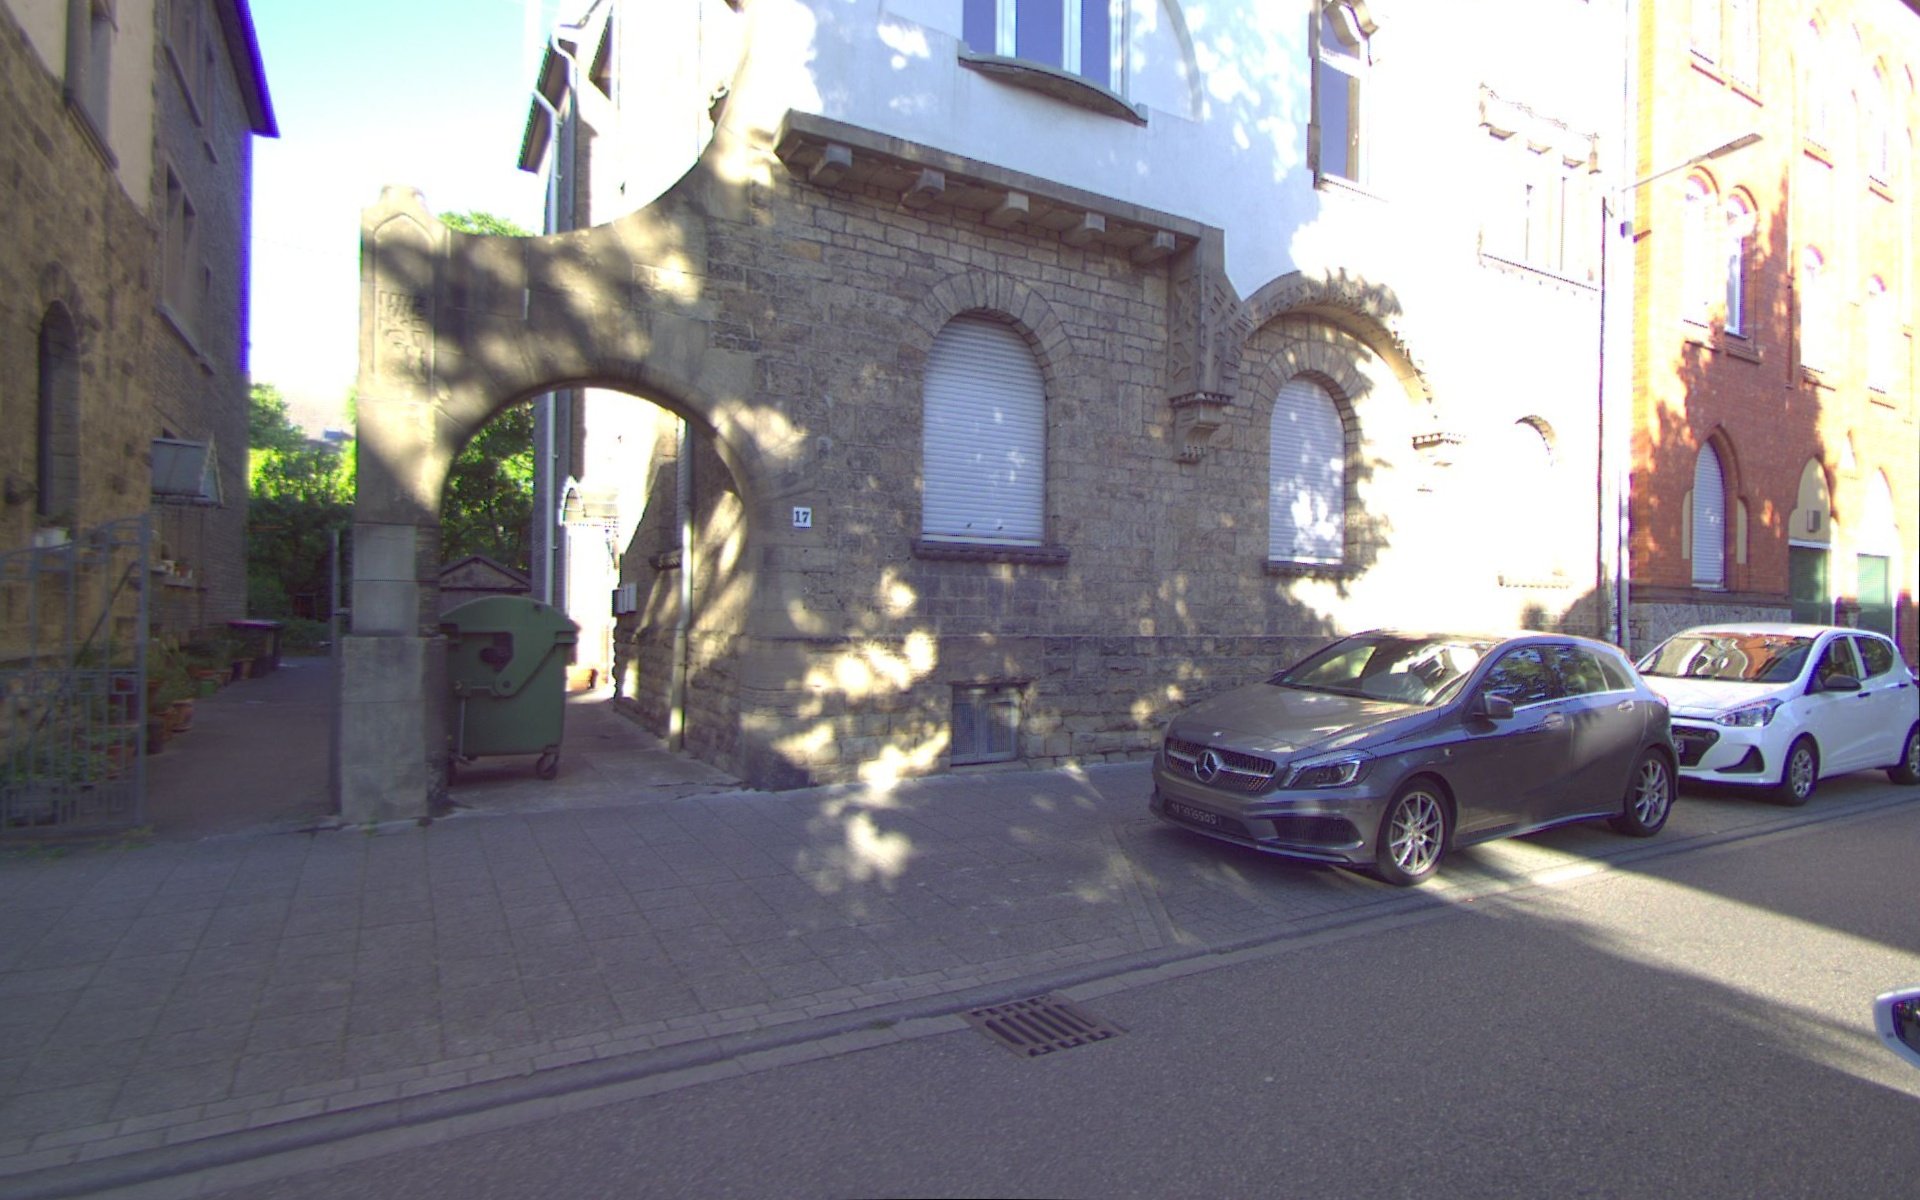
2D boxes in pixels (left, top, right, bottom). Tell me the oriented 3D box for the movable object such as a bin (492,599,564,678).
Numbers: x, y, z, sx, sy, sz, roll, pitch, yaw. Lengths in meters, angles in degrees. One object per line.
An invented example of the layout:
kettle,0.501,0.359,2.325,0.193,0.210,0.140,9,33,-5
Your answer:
movable object such as a bin,-8.662,0.760,20.120,1.160,1.498,1.187,2,0,-30

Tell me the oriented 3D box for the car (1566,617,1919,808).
car,7.590,0.935,9.541,3.546,1.490,1.560,1,0,-28

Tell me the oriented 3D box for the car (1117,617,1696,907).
car,3.206,0.881,6.999,4.064,1.462,1.668,1,0,-31

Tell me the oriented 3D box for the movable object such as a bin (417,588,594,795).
movable object such as a bin,-3.682,0.677,8.097,1.160,1.498,1.187,2,0,-30
